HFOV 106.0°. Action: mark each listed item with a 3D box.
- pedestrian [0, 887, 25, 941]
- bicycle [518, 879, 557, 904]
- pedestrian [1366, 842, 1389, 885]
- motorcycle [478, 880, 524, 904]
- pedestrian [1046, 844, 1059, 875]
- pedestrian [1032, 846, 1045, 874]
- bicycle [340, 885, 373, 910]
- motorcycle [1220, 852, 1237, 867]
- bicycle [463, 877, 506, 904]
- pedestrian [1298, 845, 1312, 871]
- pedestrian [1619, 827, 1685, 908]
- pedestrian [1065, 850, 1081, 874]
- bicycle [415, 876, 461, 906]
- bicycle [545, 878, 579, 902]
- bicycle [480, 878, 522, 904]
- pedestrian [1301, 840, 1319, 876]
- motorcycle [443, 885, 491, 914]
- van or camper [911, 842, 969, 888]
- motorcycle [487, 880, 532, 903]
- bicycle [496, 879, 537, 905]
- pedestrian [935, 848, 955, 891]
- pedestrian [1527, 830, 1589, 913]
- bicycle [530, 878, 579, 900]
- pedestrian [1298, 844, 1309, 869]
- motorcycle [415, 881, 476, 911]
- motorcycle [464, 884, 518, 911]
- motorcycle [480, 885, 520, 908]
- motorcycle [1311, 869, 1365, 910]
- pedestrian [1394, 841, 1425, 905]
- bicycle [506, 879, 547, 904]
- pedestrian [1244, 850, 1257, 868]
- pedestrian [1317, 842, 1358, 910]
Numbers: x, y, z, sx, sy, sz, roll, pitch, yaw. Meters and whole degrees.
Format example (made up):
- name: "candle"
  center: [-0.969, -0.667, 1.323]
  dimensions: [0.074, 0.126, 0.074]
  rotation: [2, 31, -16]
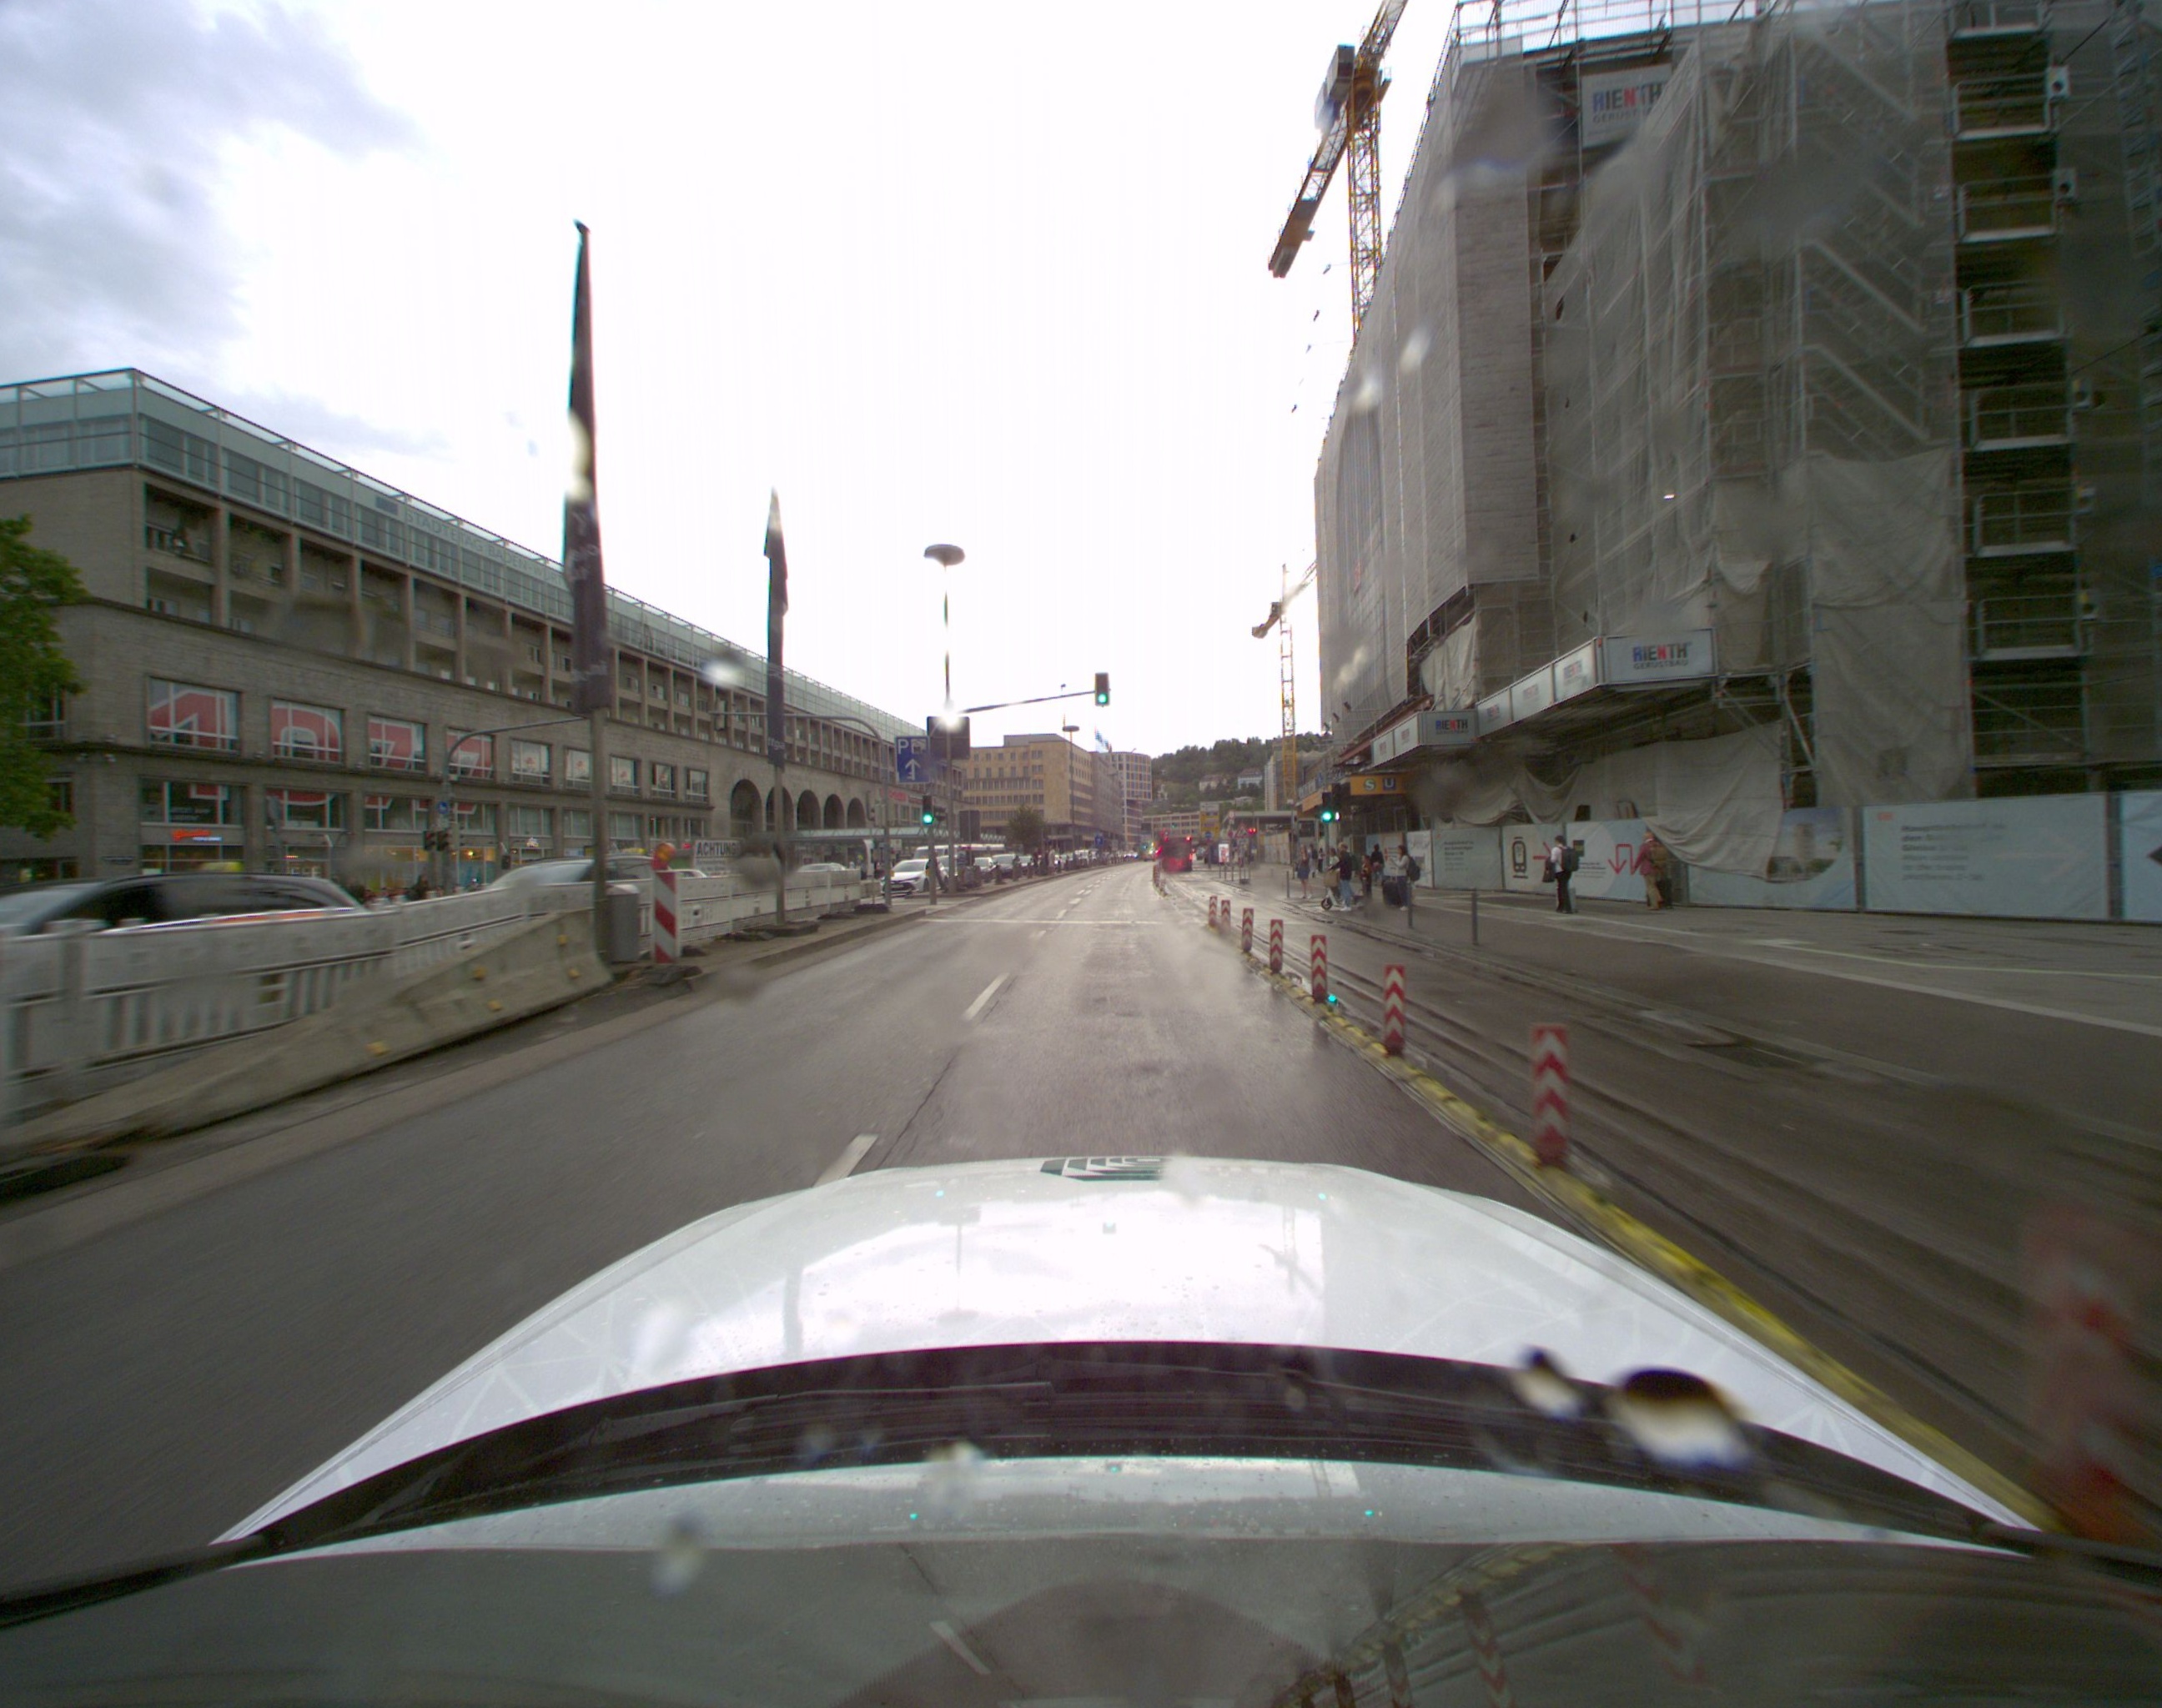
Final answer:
- name: "pedestrian"
  center: [-41.365, 2.277, 31.130]
  dimensions: [0.872, 2.013, 0.821]
  rotation: [-1, 0, 0]
- name: "bicycle"
  center: [-30.574, 2.102, 45.819]
  dimensions: [1.701, 1.325, 0.679]
  rotation: [-1, 0, -3]
- name: "pedestrian"
  center: [11.532, 0.366, 31.699]
  dimensions: [0.546, 1.632, 0.997]
  rotation: [-4, 0, 6]
- name: "motorcycle"
  center: [-27.589, 1.802, 38.770]
  dimensions: [1.705, 1.057, 0.582]
  rotation: [0, 1, -6]
- name: "pedestrian"
  center: [-1.839, 0.345, 52.702]
  dimensions: [0.719, 2.007, 0.774]
  rotation: [0, 0, 6]
- name: "pedestrian"
  center: [-2.763, 0.378, 52.673]
  dimensions: [0.695, 1.754, 0.713]
  rotation: [-1, 0, 6]
- name: "bicycle"
  center: [-32.254, 1.930, 36.246]
  dimensions: [1.600, 1.057, 0.427]
  rotation: [0, 1, 22]
- name: "motorcycle"
  center: [12.305, 0.450, 67.851]
  dimensions: [1.626, 1.166, 0.579]
  rotation: [0, 0, -45]
- name: "bicycle"
  center: [-30.929, 1.911, 42.253]
  dimensions: [1.663, 1.325, 0.679]
  rotation: [-1, 0, -3]
- name: "pedestrian"
  center: [13.791, 0.250, 50.201]
  dimensions: [0.647, 1.539, 0.666]
  rotation: [-4, 0, 7]
- name: "pedestrian"
  center: [12.370, 0.284, 17.680]
  dimensions: [0.728, 1.682, 1.112]
  rotation: [-1, 0, 9]
- name: "pedestrian"
  center: [-0.607, 0.582, 61.147]
  dimensions: [1.045, 1.768, 0.617]
  rotation: [-1, 0, 5]
- name: "bicycle"
  center: [-32.701, 1.885, 41.432]
  dimensions: [1.784, 1.434, 0.673]
  rotation: [-1, 1, -37]
- name: "bicycle"
  center: [-30.031, 2.078, 47.106]
  dimensions: [1.557, 1.325, 0.571]
  rotation: [-1, 0, -3]
- name: "bicycle"
  center: [-30.766, 1.962, 43.217]
  dimensions: [1.663, 1.325, 0.679]
  rotation: [-1, 0, -3]
- name: "pedestrian"
  center: [12.113, 0.191, 43.085]
  dimensions: [0.719, 1.847, 0.812]
  rotation: [-4, 0, 6]
- name: "motorcycle"
  center: [-24.996, 1.829, 33.170]
  dimensions: [0.473, 1.046, 1.629]
  rotation: [0, 1, 12]
- name: "van or camper"
  center: [-8.554, 0.628, 49.878]
  dimensions: [1.984, 2.514, 5.378]
  rotation: [-4, 0, 5]
- name: "motorcycle"
  center: [-27.923, 1.824, 39.822]
  dimensions: [1.705, 1.057, 0.582]
  rotation: [0, 1, -6]
- name: "bicycle"
  center: [-30.617, 2.035, 44.196]
  dimensions: [1.663, 1.325, 0.679]
  rotation: [-1, 0, -3]
- name: "pedestrian"
  center: [-5.557, 0.633, 33.268]
  dimensions: [0.648, 1.711, 0.594]
  rotation: [0, 1, 5]
- name: "pedestrian"
  center: [10.270, 0.364, 17.561]
  dimensions: [0.732, 1.677, 0.959]
  rotation: [-4, 0, 6]
- name: "bicycle"
  center: [-27.130, 1.803, 41.959]
  dimensions: [2.082, 1.077, 0.596]
  rotation: [0, 1, -2]
- name: "pedestrian"
  center: [17.434, 0.190, 63.807]
  dimensions: [0.641, 1.847, 0.660]
  rotation: [-4, 0, 6]
- name: "motorcycle"
  center: [-27.599, 1.818, 35.409]
  dimensions: [1.951, 1.227, 0.693]
  rotation: [0, 1, -13]
- name: "motorcycle"
  center: [-25.596, 1.889, 35.348]
  dimensions: [0.595, 1.057, 1.826]
  rotation: [1, 1, 43]
- name: "motorcycle"
  center: [-27.752, 2.013, 38.890]
  dimensions: [1.436, 1.057, 0.602]
  rotation: [0, 1, -5]
- name: "motorcycle"
  center: [6.779, 0.920, 21.486]
  dimensions: [0.589, 1.021, 1.226]
  rotation: [-1, 0, -36]
- name: "pedestrian"
  center: [8.770, 0.490, 21.735]
  dimensions: [0.560, 1.650, 0.616]
  rotation: [-4, 0, 11]
- name: "bicycle"
  center: [-30.615, 2.056, 44.978]
  dimensions: [1.725, 1.325, 0.679]
  rotation: [-1, 0, -3]
- name: "pedestrian"
  center: [15.718, 0.435, 75.464]
  dimensions: [0.898, 1.635, 0.833]
  rotation: [-1, 0, 34]
- name: "pedestrian"
  center: [6.763, 0.563, 21.497]
  dimensions: [0.584, 1.740, 0.813]
  rotation: [-1, 0, -36]
